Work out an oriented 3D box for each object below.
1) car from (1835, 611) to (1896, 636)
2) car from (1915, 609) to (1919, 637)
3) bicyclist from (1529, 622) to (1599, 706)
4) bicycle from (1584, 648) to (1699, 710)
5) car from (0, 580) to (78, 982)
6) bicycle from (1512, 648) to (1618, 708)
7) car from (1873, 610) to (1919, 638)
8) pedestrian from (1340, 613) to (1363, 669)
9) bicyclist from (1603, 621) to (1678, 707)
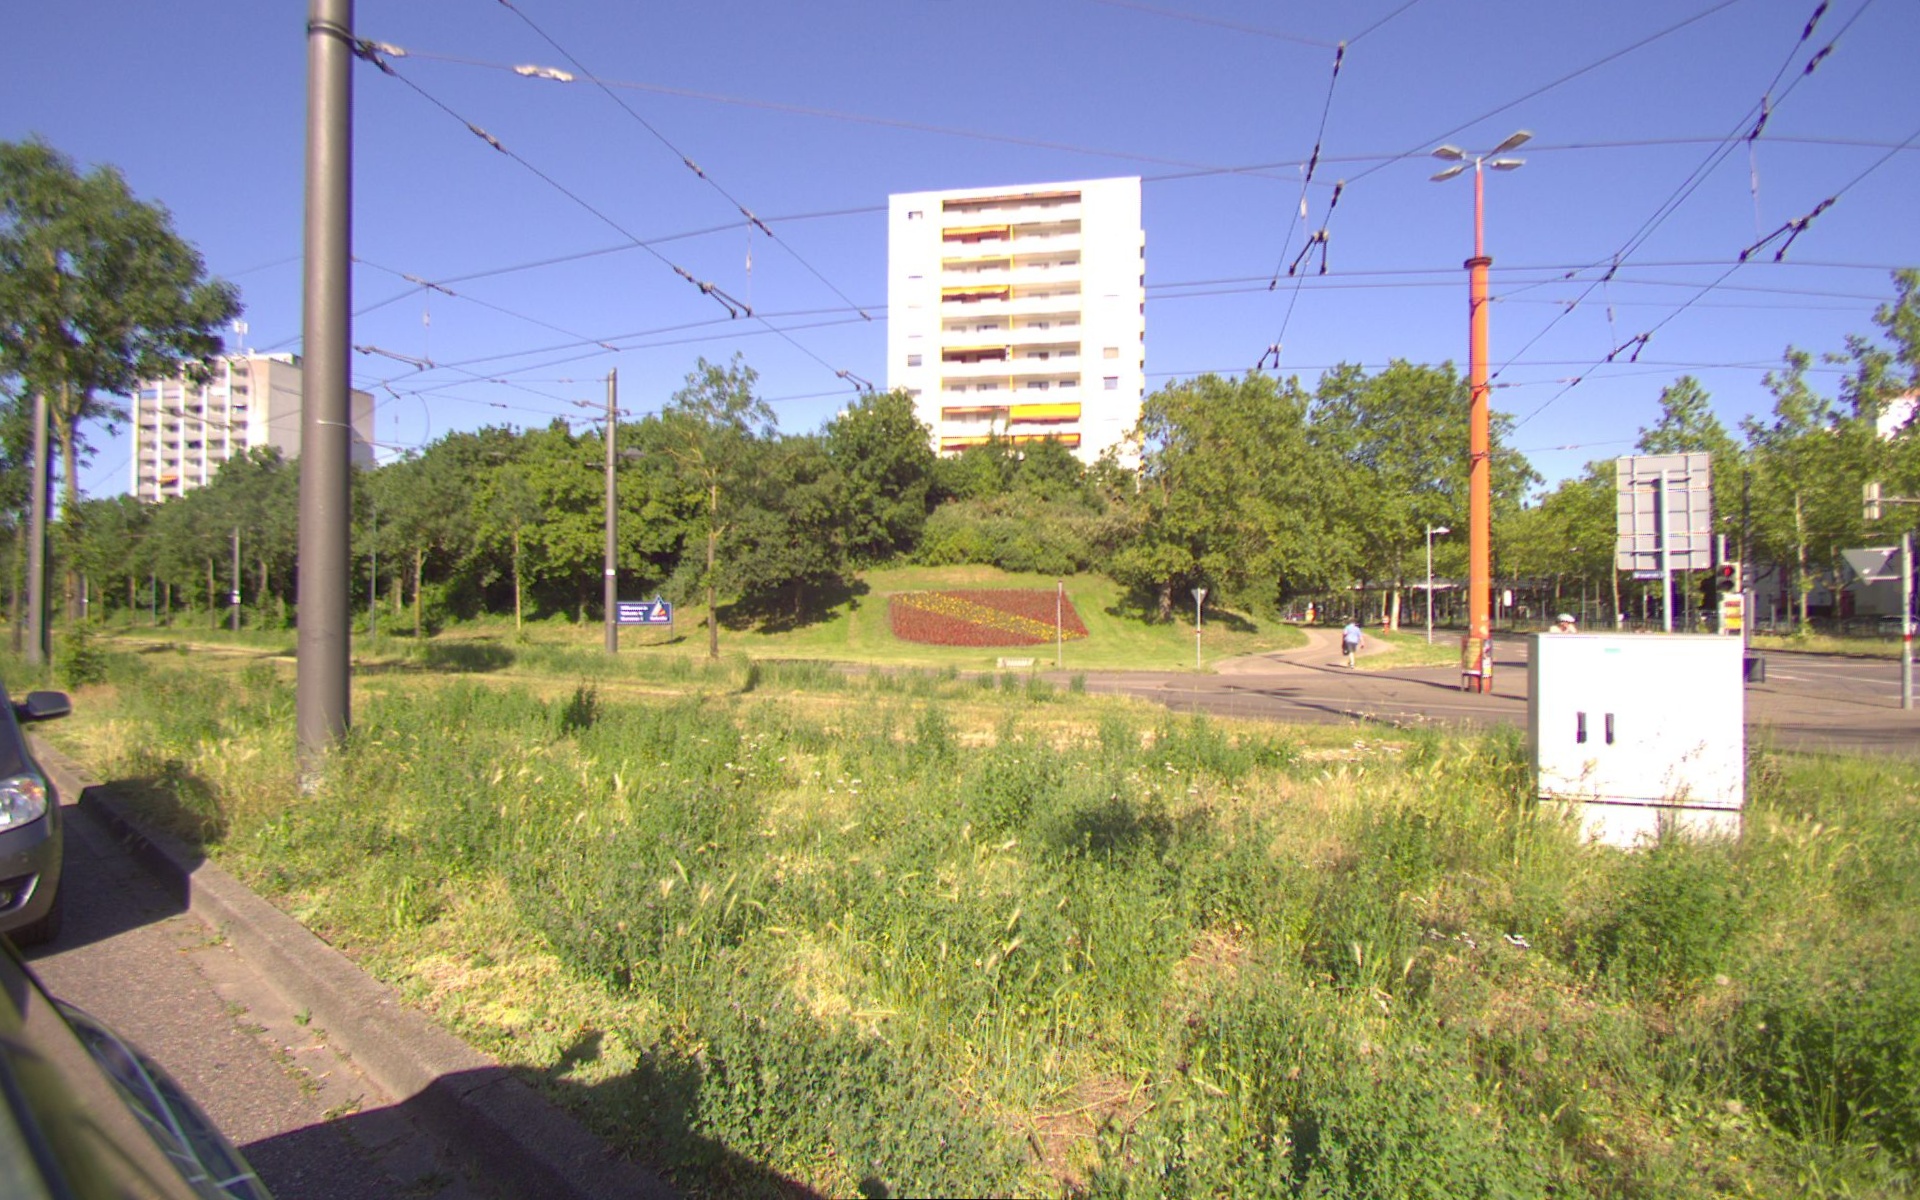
[{"bbox_3d":[66.012,1.709,73.760,3.931,1.829,2.006,1,-2,-27],"label":"car"},{"bbox_3d":[64.402,1.514,65.901,3.931,1.829,2.006,1,-2,-27],"label":"car"},{"bbox_3d":[12.095,1.261,20.296,0.920,1.650,0.741,0,-1,-1],"label":"bicyclist"},{"bbox_3d":[13.356,1.523,19.911,0.915,1.095,1.888,0,-1,-2],"label":"bicycle"},{"bbox_3d":[-5.940,0.755,5.038,4.382,1.619,1.754,-1,-2,41],"label":"car"},{"bbox_3d":[12.091,1.539,20.313,0.915,1.095,1.888,0,-1,-2],"label":"bicycle"},{"bbox_3d":[65.245,1.652,69.864,3.931,1.829,2.006,1,-2,-27],"label":"car"},{"bbox_3d":[13.870,1.452,35.855,0.729,1.949,0.726,-1,-2,24],"label":"pedestrian"},{"bbox_3d":[13.353,1.244,19.878,0.920,1.650,0.741,0,-1,-1],"label":"bicyclist"}]
